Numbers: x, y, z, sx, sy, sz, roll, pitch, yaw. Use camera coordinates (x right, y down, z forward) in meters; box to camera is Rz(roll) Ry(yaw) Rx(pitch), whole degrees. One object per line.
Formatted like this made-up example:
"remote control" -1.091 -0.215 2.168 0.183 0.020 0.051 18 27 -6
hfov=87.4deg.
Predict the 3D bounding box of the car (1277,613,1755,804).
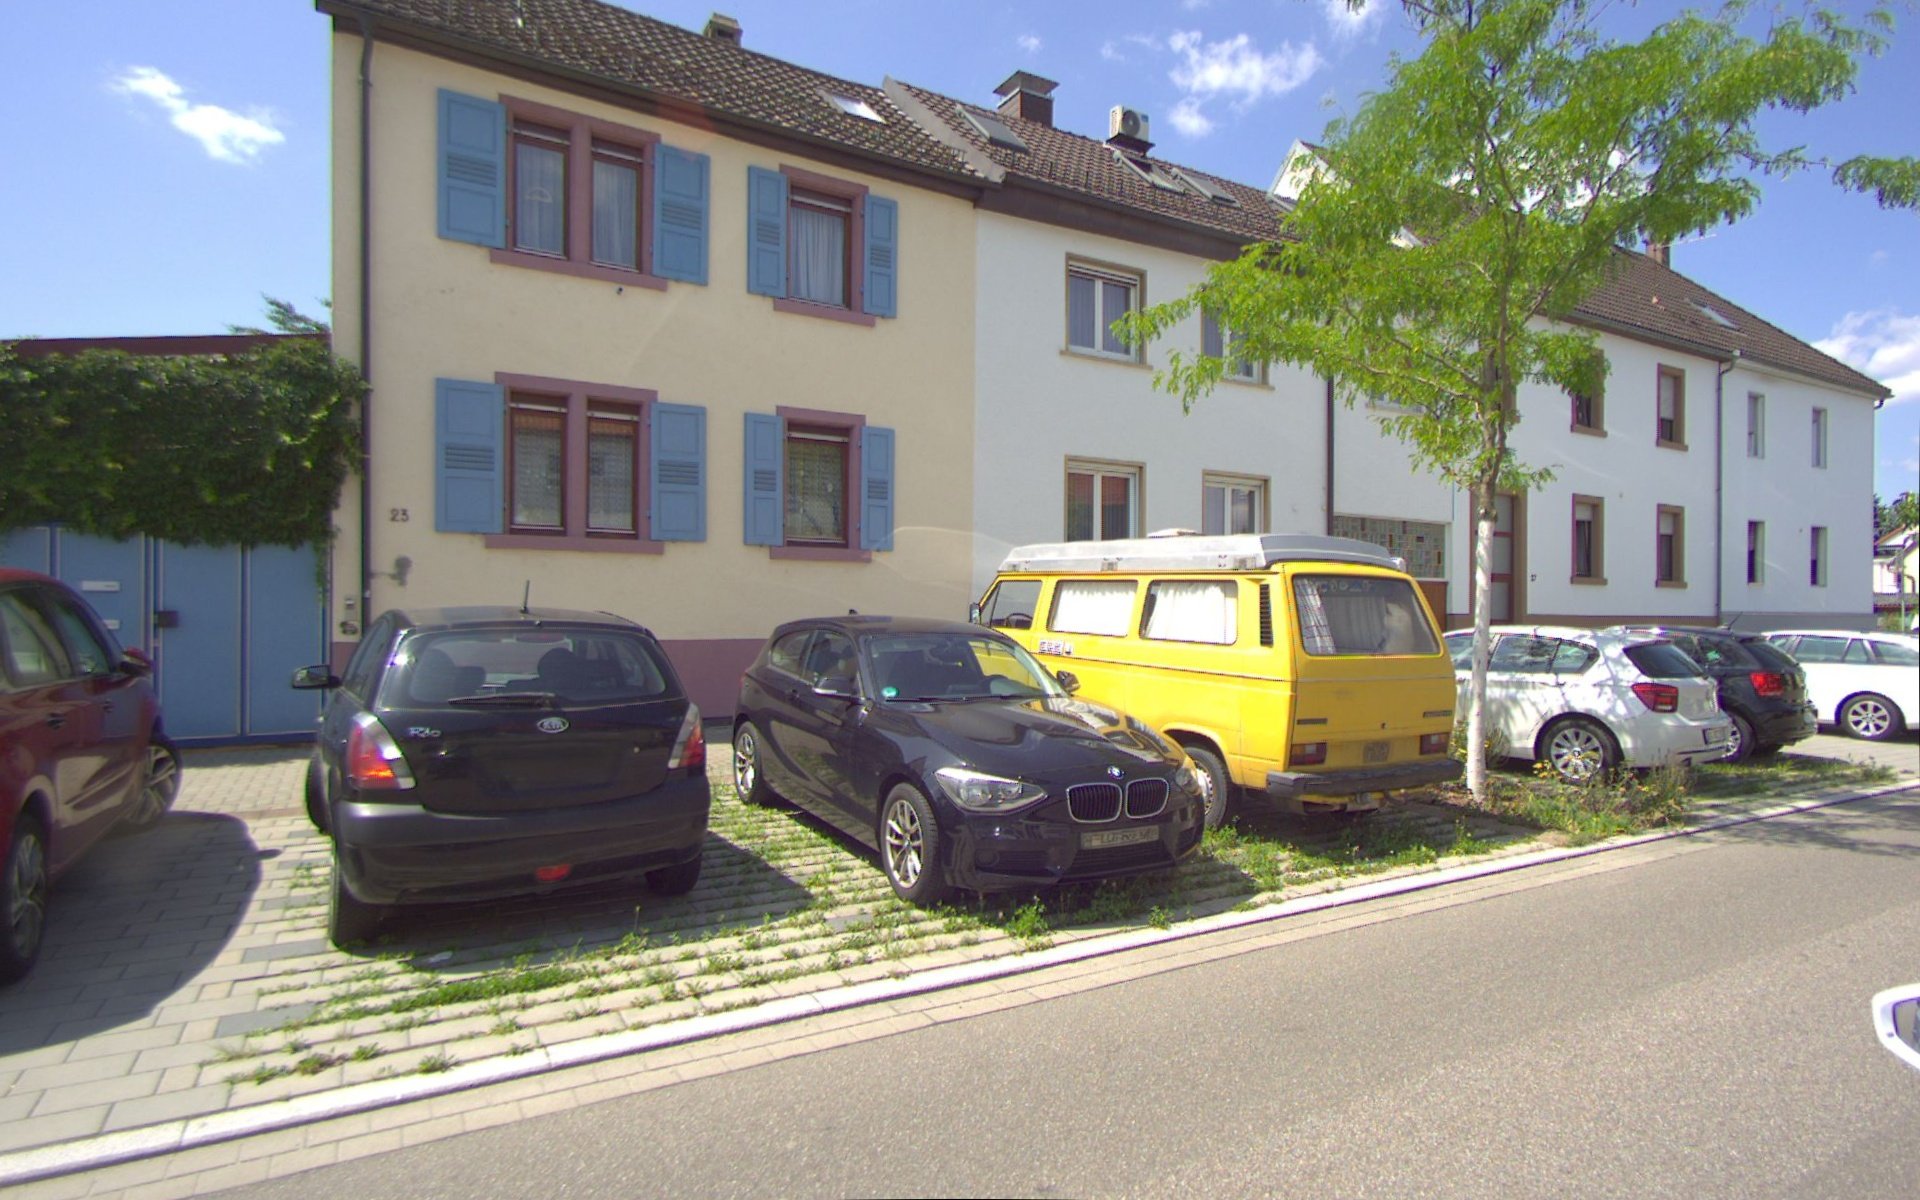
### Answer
"car" 5.591 0.945 10.555 1.738 1.487 4.040 1 0 -38

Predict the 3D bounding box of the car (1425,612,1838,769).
"car" 7.955 0.956 12.212 1.644 1.487 3.849 2 0 -38

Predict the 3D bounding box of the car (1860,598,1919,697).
"car" 20.666 1.012 19.269 1.915 1.949 4.677 2 0 -30

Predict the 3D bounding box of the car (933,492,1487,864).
"car" 1.683 0.453 8.396 1.902 2.206 4.487 1 0 -30

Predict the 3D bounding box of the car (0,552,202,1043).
"car" -5.013 0.608 4.699 1.821 1.633 4.232 1 0 -30

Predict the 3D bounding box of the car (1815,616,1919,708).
"car" 18.246 1.186 17.951 1.755 1.589 4.158 2 0 -33

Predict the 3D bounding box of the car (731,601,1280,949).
"car" -0.056 0.793 6.607 1.734 1.479 3.991 1 0 -30

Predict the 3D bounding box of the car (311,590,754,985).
"car" -2.723 0.717 5.886 1.736 1.479 3.770 1 0 -32

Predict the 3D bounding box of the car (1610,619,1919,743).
"car" 12.283 1.101 14.751 1.752 1.487 4.277 2 0 -28
